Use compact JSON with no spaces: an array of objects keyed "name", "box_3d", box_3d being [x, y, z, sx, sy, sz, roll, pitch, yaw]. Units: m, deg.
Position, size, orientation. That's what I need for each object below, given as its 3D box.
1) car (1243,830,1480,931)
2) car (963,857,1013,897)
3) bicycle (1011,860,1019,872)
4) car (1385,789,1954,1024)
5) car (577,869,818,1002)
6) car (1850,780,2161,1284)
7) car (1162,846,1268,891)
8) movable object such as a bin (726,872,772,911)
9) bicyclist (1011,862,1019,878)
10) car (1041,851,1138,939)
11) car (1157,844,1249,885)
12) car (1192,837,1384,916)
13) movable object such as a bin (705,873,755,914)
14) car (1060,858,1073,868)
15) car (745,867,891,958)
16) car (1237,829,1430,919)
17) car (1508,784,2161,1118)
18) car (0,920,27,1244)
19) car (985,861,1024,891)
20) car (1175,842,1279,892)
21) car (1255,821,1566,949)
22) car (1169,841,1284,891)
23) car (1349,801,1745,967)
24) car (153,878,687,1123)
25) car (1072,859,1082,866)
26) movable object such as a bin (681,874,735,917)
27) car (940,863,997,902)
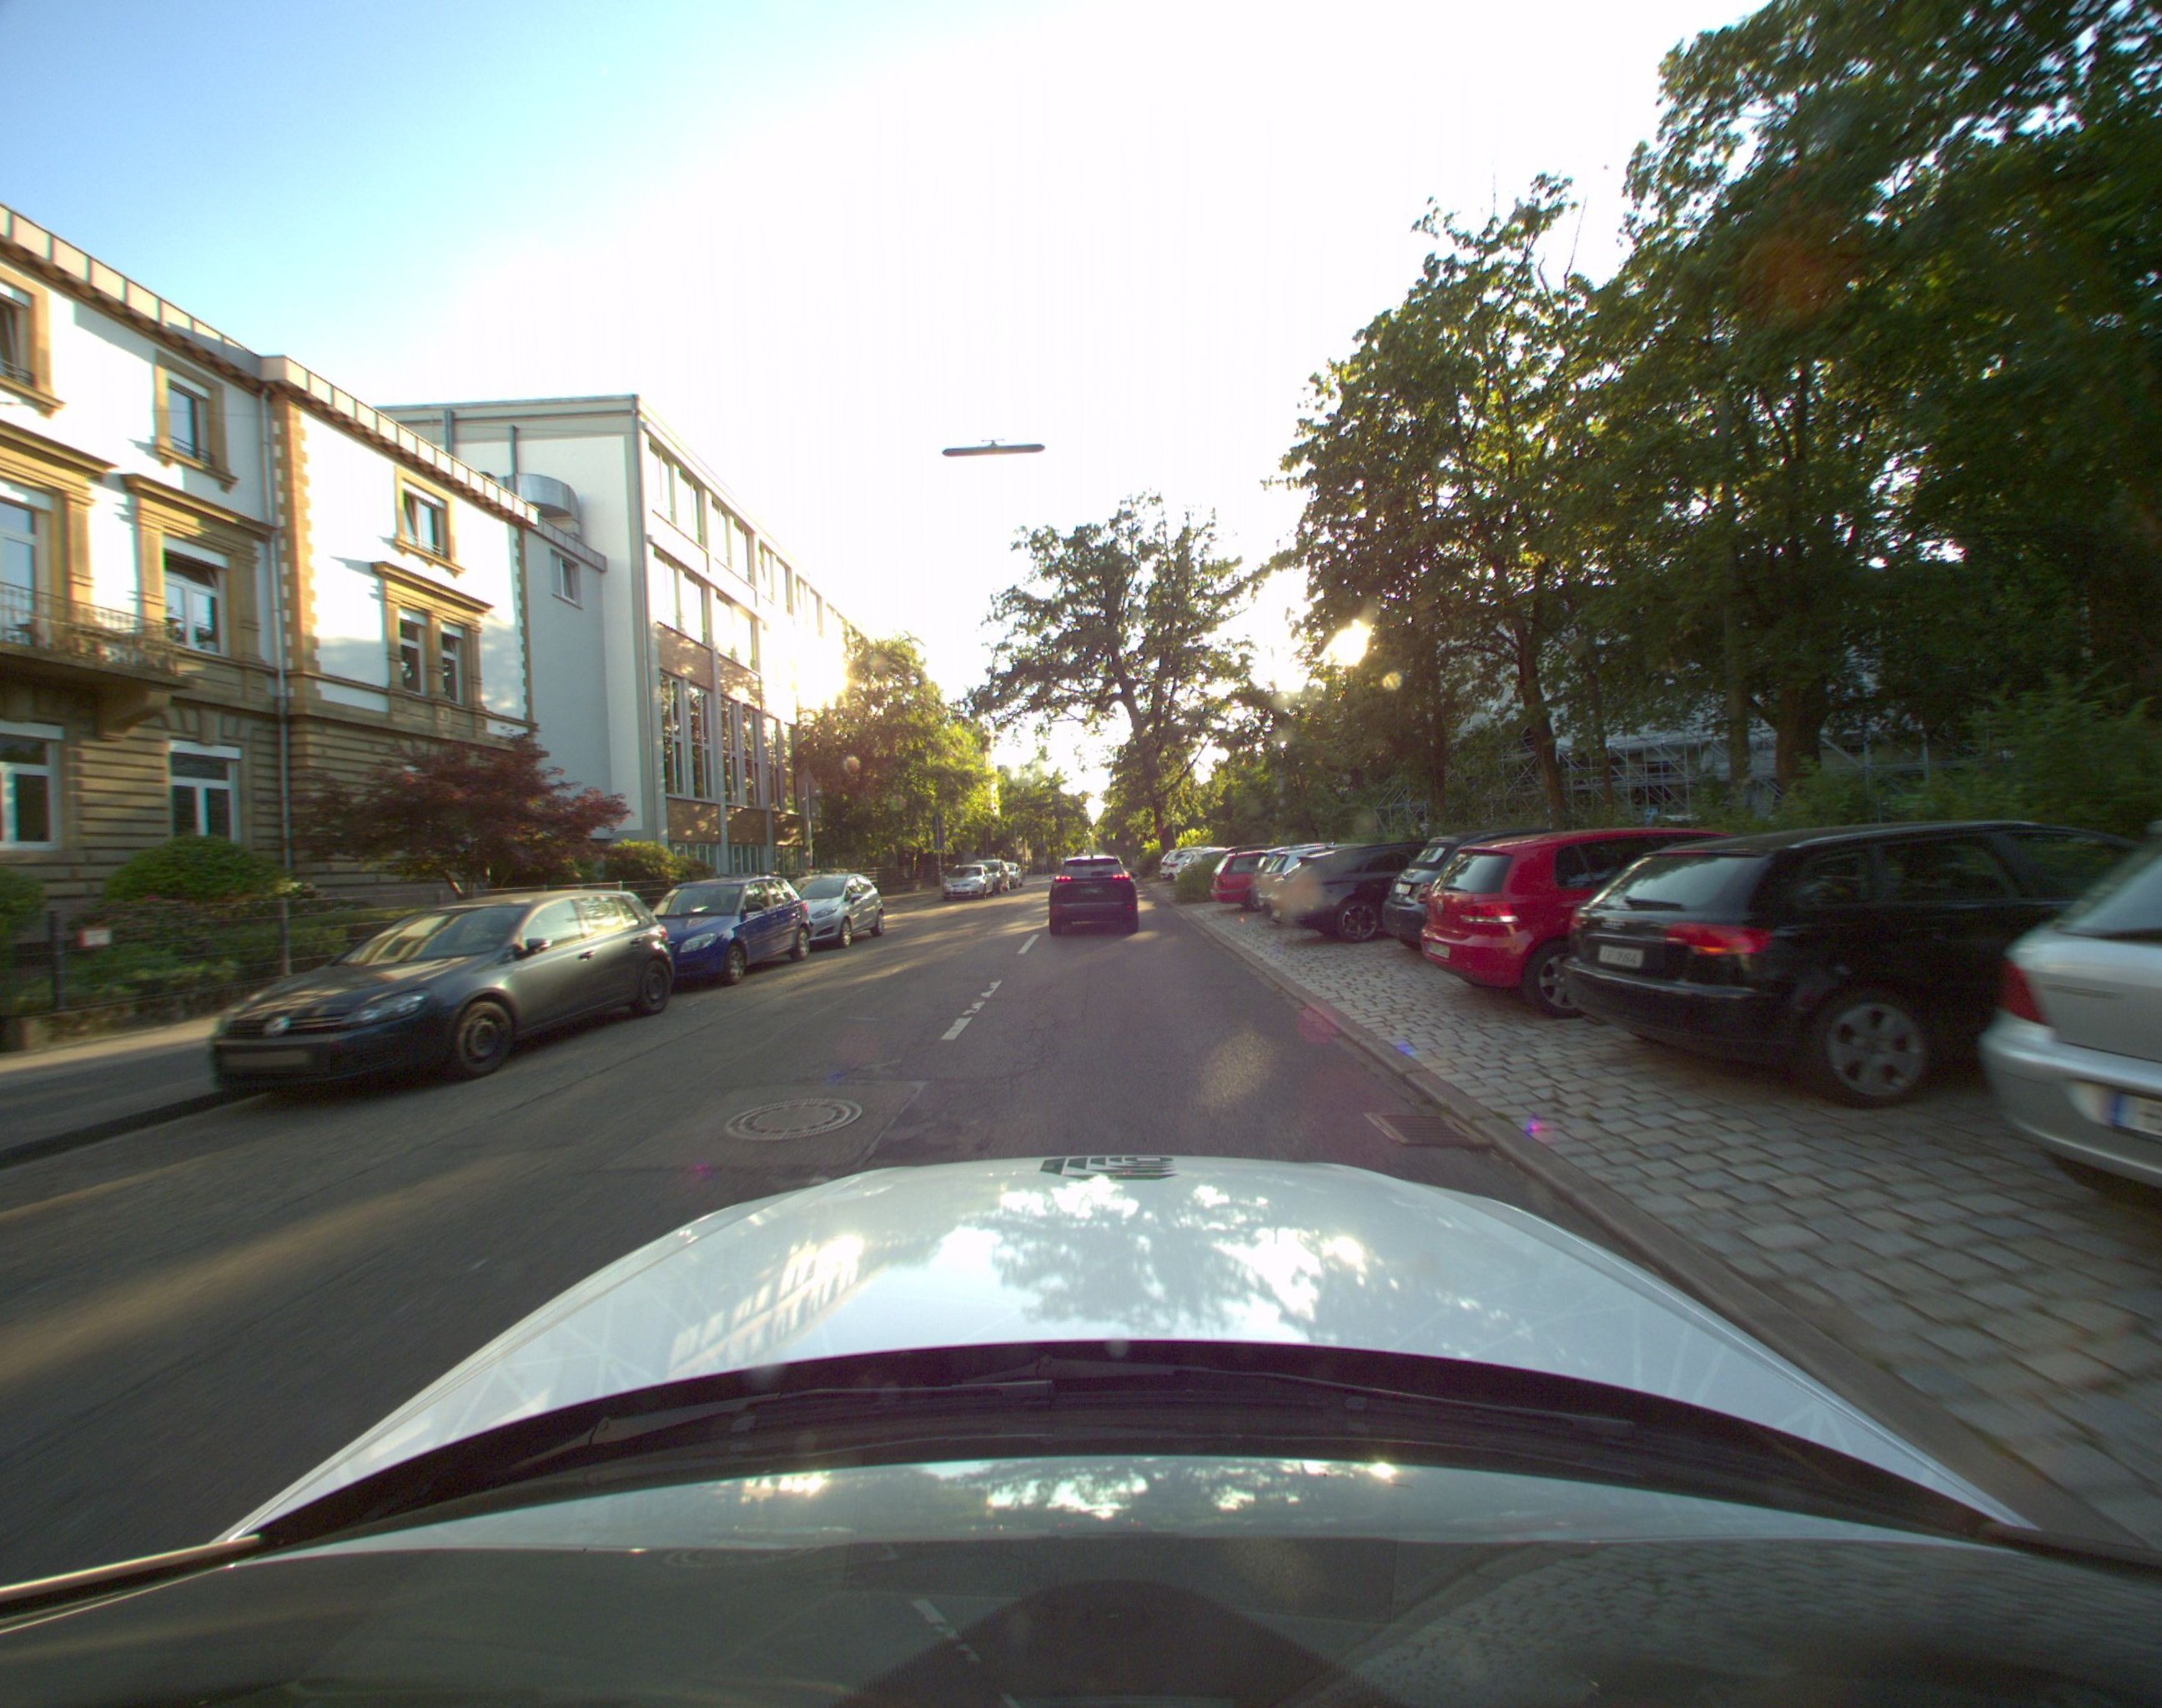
[{"name":"car","box_3d":[5.327,0.491,15.875,3.909,1.454,1.833,-6,0,2]},{"name":"car","box_3d":[-4.566,1.095,40.531,1.673,1.708,4.342,-5,0,2]},{"name":"bicycle","box_3d":[-6.609,1.192,81.460,0.685,1.249,2.189,-3,0,-4]},{"name":"car","box_3d":[5.056,0.434,7.444,3.794,1.474,1.757,-7,-1,1]},{"name":"car","box_3d":[-5.591,1.099,12.450,1.592,1.507,3.791,-5,0,3]},{"name":"car","box_3d":[5.076,0.363,2.416,3.712,1.498,1.821,-7,-1,1]},{"name":"car","box_3d":[5.532,0.577,33.870,4.107,1.667,1.723,-2,0,1]},{"name":"movable object such as a bin","box_3d":[-13.157,1.486,32.315,1.094,1.430,1.374,-3,0,5]},{"name":"bicyclist","box_3d":[-6.591,1.576,81.476,0.674,1.603,0.705,-3,0,-4]},{"name":"car","box_3d":[0.165,0.763,17.036,1.762,1.568,3.380,-3,0,0]},{"name":"car","box_3d":[5.752,0.501,38.644,4.150,1.710,1.870,-3,0,5]},{"name":"car","box_3d":[5.122,0.535,20.555,4.321,1.475,1.743,-6,1,2]},{"name":"movable object such as a bin","box_3d":[-13.273,1.479,30.866,1.094,1.430,1.488,-3,0,5]},{"name":"car","box_3d":[-2.245,1.404,123.870,1.806,1.354,3.995,-4,0,-3]},{"name":"car","box_3d":[-5.348,1.115,17.079,1.595,1.493,3.774,-5,0,2]},{"name":"car","box_3d":[5.629,0.429,18.437,3.703,1.555,1.740,-6,0,-3]},{"name":"car","box_3d":[5.032,0.464,5.046,3.735,1.395,1.757,-7,-1,1]},{"name":"car","box_3d":[-5.736,1.063,1.847,1.593,1.455,3.862,-3,0,0]},{"name":"car","box_3d":[-4.362,1.250,46.923,1.673,1.457,3.884,-5,0,2]},{"name":"car","box_3d":[5.567,0.499,31.426,3.577,1.566,1.818,-5,-1,0]},{"name":"car","box_3d":[5.044,0.468,12.934,4.104,1.474,1.833,-6,0,2]},{"name":"car","box_3d":[5.128,0.422,29.018,3.733,1.594,1.696,-2,0,-1]},{"name":"car","box_3d":[5.621,0.358,10.233,3.794,1.474,1.832,-7,-1,1]},{"name":"car","box_3d":[-5.636,1.093,7.758,1.593,1.455,4.056,-5,0,1]},{"name":"car","box_3d":[-0.871,1.726,163.949,1.806,1.354,3.975,-4,0,-2]},{"name":"movable object such as a bin","box_3d":[-13.405,1.472,29.355,1.094,1.430,1.521,-3,0,5]},{"name":"car","box_3d":[-4.769,1.173,34.963,1.664,1.494,4.063,-3,0,2]}]
